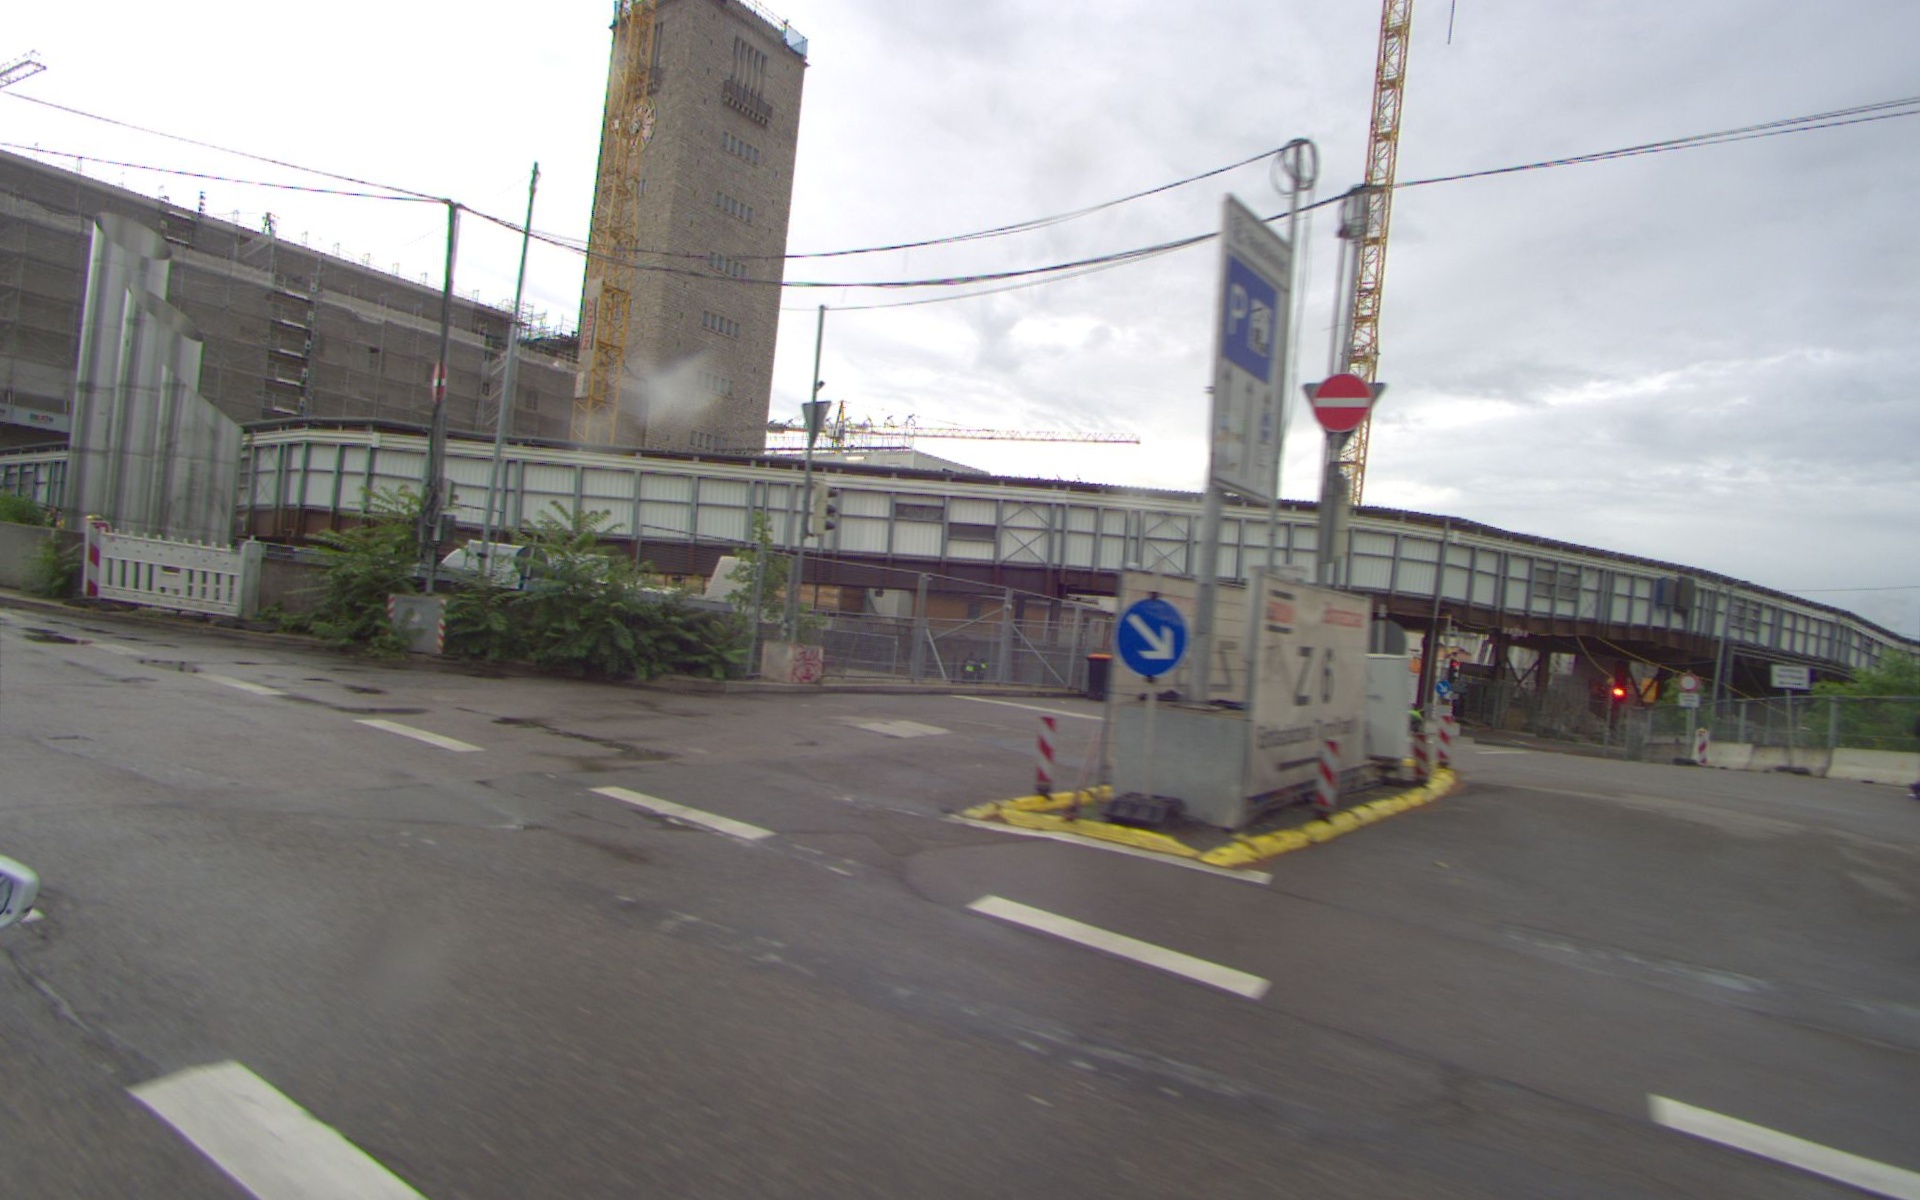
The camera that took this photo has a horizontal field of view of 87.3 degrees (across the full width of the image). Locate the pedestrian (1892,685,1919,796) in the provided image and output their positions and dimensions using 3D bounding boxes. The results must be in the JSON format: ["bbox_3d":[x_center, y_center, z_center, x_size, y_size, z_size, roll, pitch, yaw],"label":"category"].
[{"bbox_3d":[15.854,2.298,16.331,0.701,1.757,0.816,3,2,-35],"label":"pedestrian"}]

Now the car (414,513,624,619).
[{"bbox_3d":[-12.289,-0.910,28.429,4.799,2.157,2.349,8,0,-11],"label":"car"}]

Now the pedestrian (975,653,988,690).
[{"bbox_3d":[0.815,2.683,37.886,0.333,1.356,0.401,4,1,-12],"label":"pedestrian"}]

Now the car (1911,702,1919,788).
[{"bbox_3d":[17.078,2.571,16.039,1.597,1.499,3.350,4,0,23],"label":"car"}]

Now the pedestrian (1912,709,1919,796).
[{"bbox_3d":[16.495,2.464,16.675,0.701,1.657,0.812,3,1,-35],"label":"pedestrian"}]

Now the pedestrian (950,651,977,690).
[{"bbox_3d":[0.127,2.633,37.556,0.773,1.356,0.691,4,1,-12],"label":"pedestrian"}]

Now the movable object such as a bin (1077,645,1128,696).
[{"bbox_3d":[3.358,1.647,23.698,0.720,1.116,0.989,5,1,40],"label":"movable object such as a bin"}]

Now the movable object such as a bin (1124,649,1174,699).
[{"bbox_3d":[4.522,1.765,24.073,0.720,1.116,0.989,5,1,40],"label":"movable object such as a bin"}]

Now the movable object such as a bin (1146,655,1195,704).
[{"bbox_3d":[5.212,1.956,24.902,0.720,1.116,0.989,5,1,40],"label":"movable object such as a bin"}]

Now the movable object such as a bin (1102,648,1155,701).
[{"bbox_3d":[3.895,1.709,23.181,0.737,1.116,0.989,5,1,40],"label":"movable object such as a bin"}]

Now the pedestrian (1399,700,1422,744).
[{"bbox_3d":[15.176,4.103,33.891,0.547,1.356,0.617,4,1,20],"label":"pedestrian"}]
